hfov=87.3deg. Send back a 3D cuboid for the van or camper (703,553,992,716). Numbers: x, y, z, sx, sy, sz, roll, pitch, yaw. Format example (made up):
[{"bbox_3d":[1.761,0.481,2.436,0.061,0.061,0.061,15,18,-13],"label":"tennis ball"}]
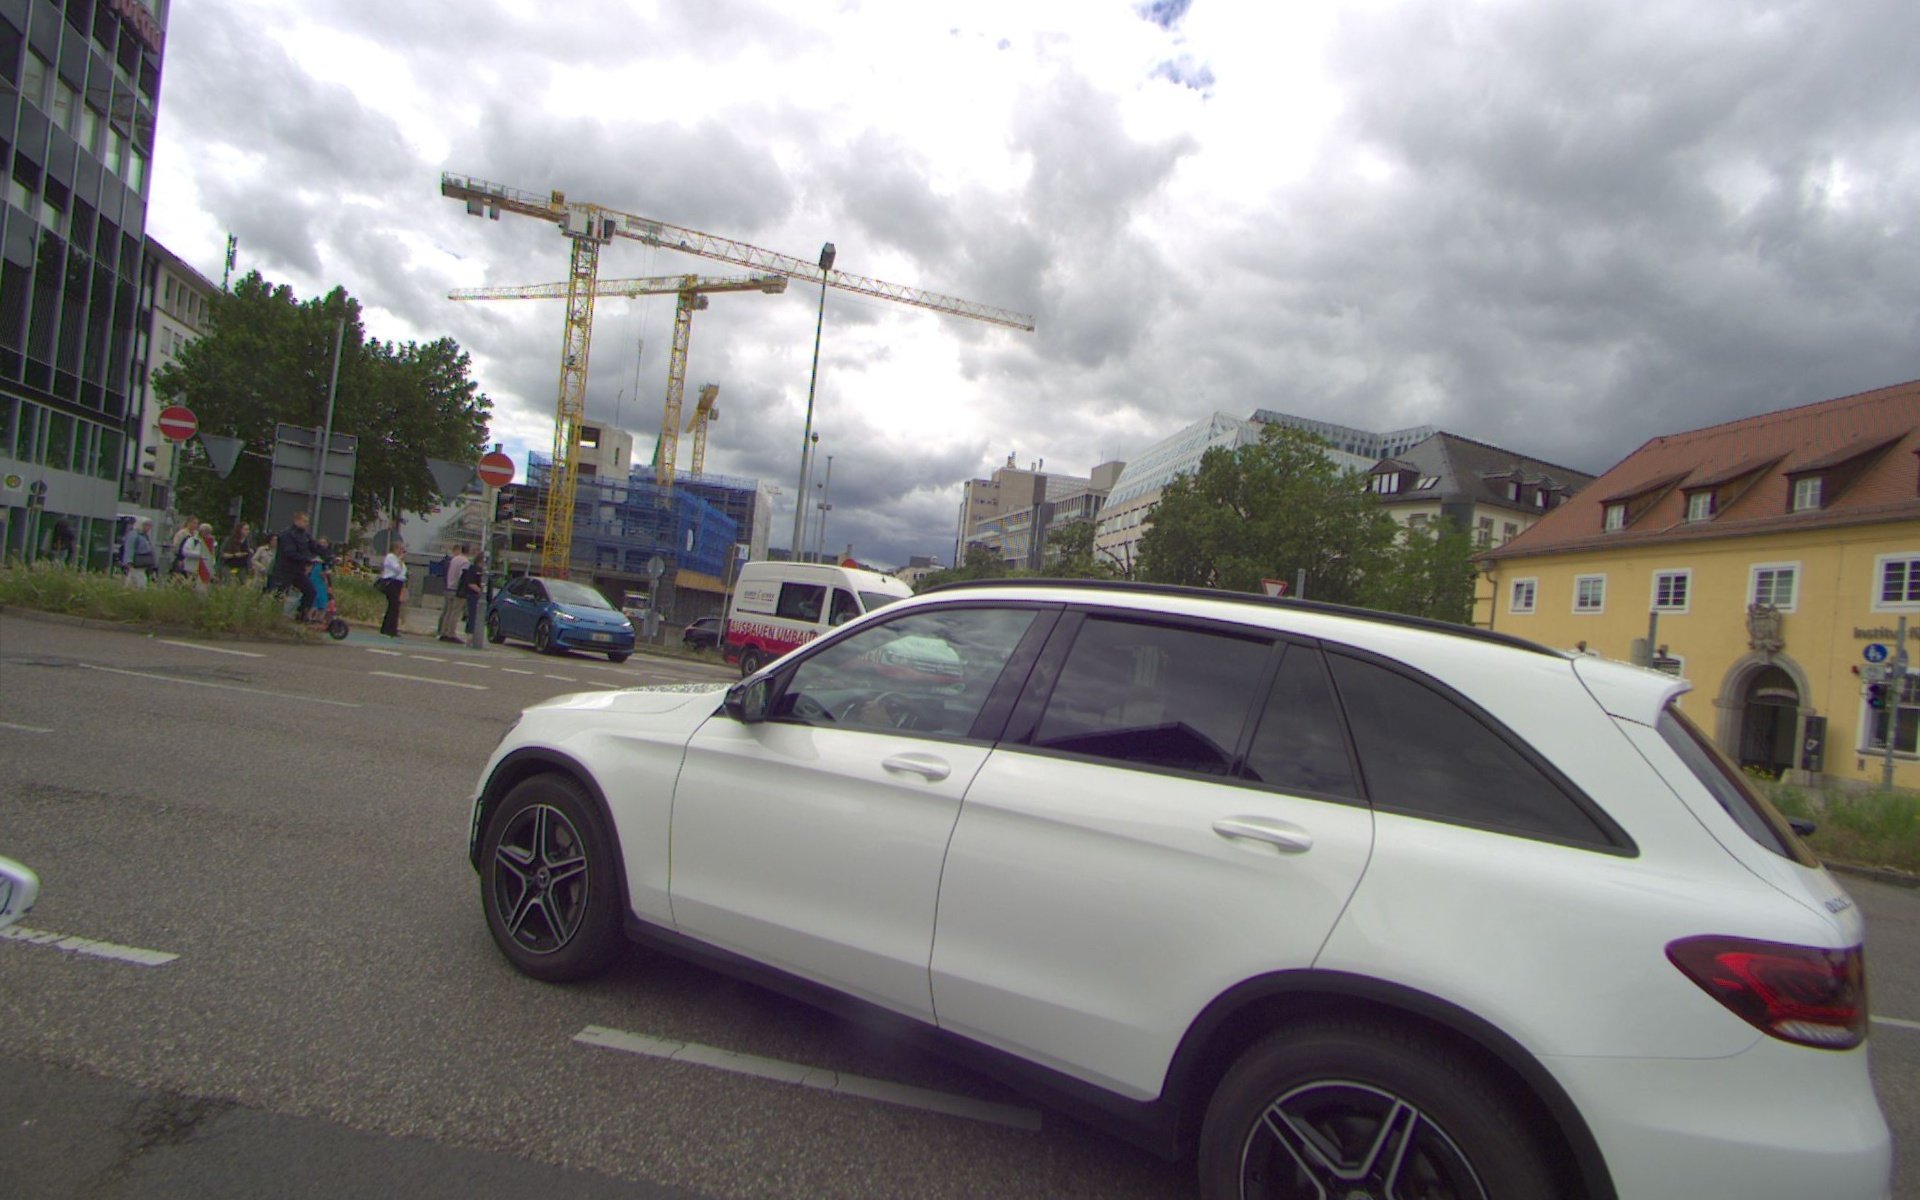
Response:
[{"bbox_3d":[-2.444,0.582,20.178,6.080,2.505,2.137,6,-2,44],"label":"van or camper"}]

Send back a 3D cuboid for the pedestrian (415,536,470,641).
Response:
[{"bbox_3d":[-9.964,-0.223,19.369,0.638,1.932,0.604,8,-1,-39],"label":"pedestrian"}]

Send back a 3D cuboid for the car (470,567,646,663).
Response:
[{"bbox_3d":[-8.699,0.275,21.546,1.936,1.500,4.573,8,-1,-42],"label":"car"}]

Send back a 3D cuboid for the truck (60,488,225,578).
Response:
[{"bbox_3d":[-36.282,-2.803,45.068,2.309,3.099,8.180,7,-2,-15],"label":"truck"}]

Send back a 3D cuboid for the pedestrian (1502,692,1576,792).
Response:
[{"bbox_3d":[11.410,2.786,19.842,0.739,1.810,0.827,7,-1,-8],"label":"pedestrian"}]

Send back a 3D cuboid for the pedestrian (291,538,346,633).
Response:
[{"bbox_3d":[-12.159,-0.278,19.063,0.638,1.715,0.604,8,-1,-39],"label":"pedestrian"}]

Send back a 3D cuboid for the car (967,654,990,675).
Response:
[{"bbox_3d":[1.840,6.581,102.763,1.964,1.654,3.999,7,-1,-2],"label":"car"}]

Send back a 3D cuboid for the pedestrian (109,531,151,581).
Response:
[{"bbox_3d":[-31.815,-1.671,38.565,0.863,1.767,0.843,7,-1,-24],"label":"pedestrian"}]

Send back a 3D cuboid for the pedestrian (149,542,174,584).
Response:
[{"bbox_3d":[-30.916,-1.424,38.954,0.511,1.553,0.550,7,0,-24],"label":"pedestrian"}]

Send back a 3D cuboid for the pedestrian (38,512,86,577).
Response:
[{"bbox_3d":[-25.245,-1.554,28.283,0.625,1.698,0.591,7,0,0],"label":"pedestrian"}]

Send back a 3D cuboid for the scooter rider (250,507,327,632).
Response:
[{"bbox_3d":[-9.891,-0.444,14.846,0.738,1.714,0.760,7,-1,-31],"label":"scooter rider"}]

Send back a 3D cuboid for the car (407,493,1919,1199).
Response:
[{"bbox_3d":[0.153,0.702,3.547,4.264,1.666,1.803,7,0,34],"label":"car"}]

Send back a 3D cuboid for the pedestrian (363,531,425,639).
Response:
[{"bbox_3d":[-10.036,-0.268,17.840,0.638,1.817,0.604,9,-2,-39],"label":"pedestrian"}]

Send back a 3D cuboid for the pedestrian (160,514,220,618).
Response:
[{"bbox_3d":[-14.446,-0.625,18.894,0.697,1.837,0.663,8,-1,-36],"label":"pedestrian"}]

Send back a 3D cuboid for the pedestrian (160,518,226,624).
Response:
[{"bbox_3d":[-13.807,-0.522,18.132,0.757,1.782,0.663,8,-1,-37],"label":"pedestrian"}]

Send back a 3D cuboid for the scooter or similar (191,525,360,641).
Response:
[{"bbox_3d":[-9.998,-0.232,14.795,1.869,1.423,0.770,8,-2,-32],"label":"scooter or similar"}]

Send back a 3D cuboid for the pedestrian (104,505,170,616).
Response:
[{"bbox_3d":[-14.818,-0.705,18.127,0.697,1.884,0.663,8,-1,-36],"label":"pedestrian"}]

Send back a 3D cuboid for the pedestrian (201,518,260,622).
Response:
[{"bbox_3d":[-12.832,-0.526,17.698,0.638,1.715,0.604,8,-1,-39],"label":"pedestrian"}]

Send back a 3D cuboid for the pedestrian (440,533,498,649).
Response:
[{"bbox_3d":[-8.815,-0.157,18.061,0.637,1.978,0.605,8,-1,-36],"label":"pedestrian"}]

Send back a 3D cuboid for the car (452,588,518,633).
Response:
[{"bbox_3d":[-19.707,0.418,41.638,1.821,1.483,3.966,8,-2,-33],"label":"car"}]

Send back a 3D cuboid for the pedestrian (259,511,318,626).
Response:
[{"bbox_3d":[-12.153,-0.568,18.211,0.638,1.988,0.604,8,-1,-39],"label":"pedestrian"}]
